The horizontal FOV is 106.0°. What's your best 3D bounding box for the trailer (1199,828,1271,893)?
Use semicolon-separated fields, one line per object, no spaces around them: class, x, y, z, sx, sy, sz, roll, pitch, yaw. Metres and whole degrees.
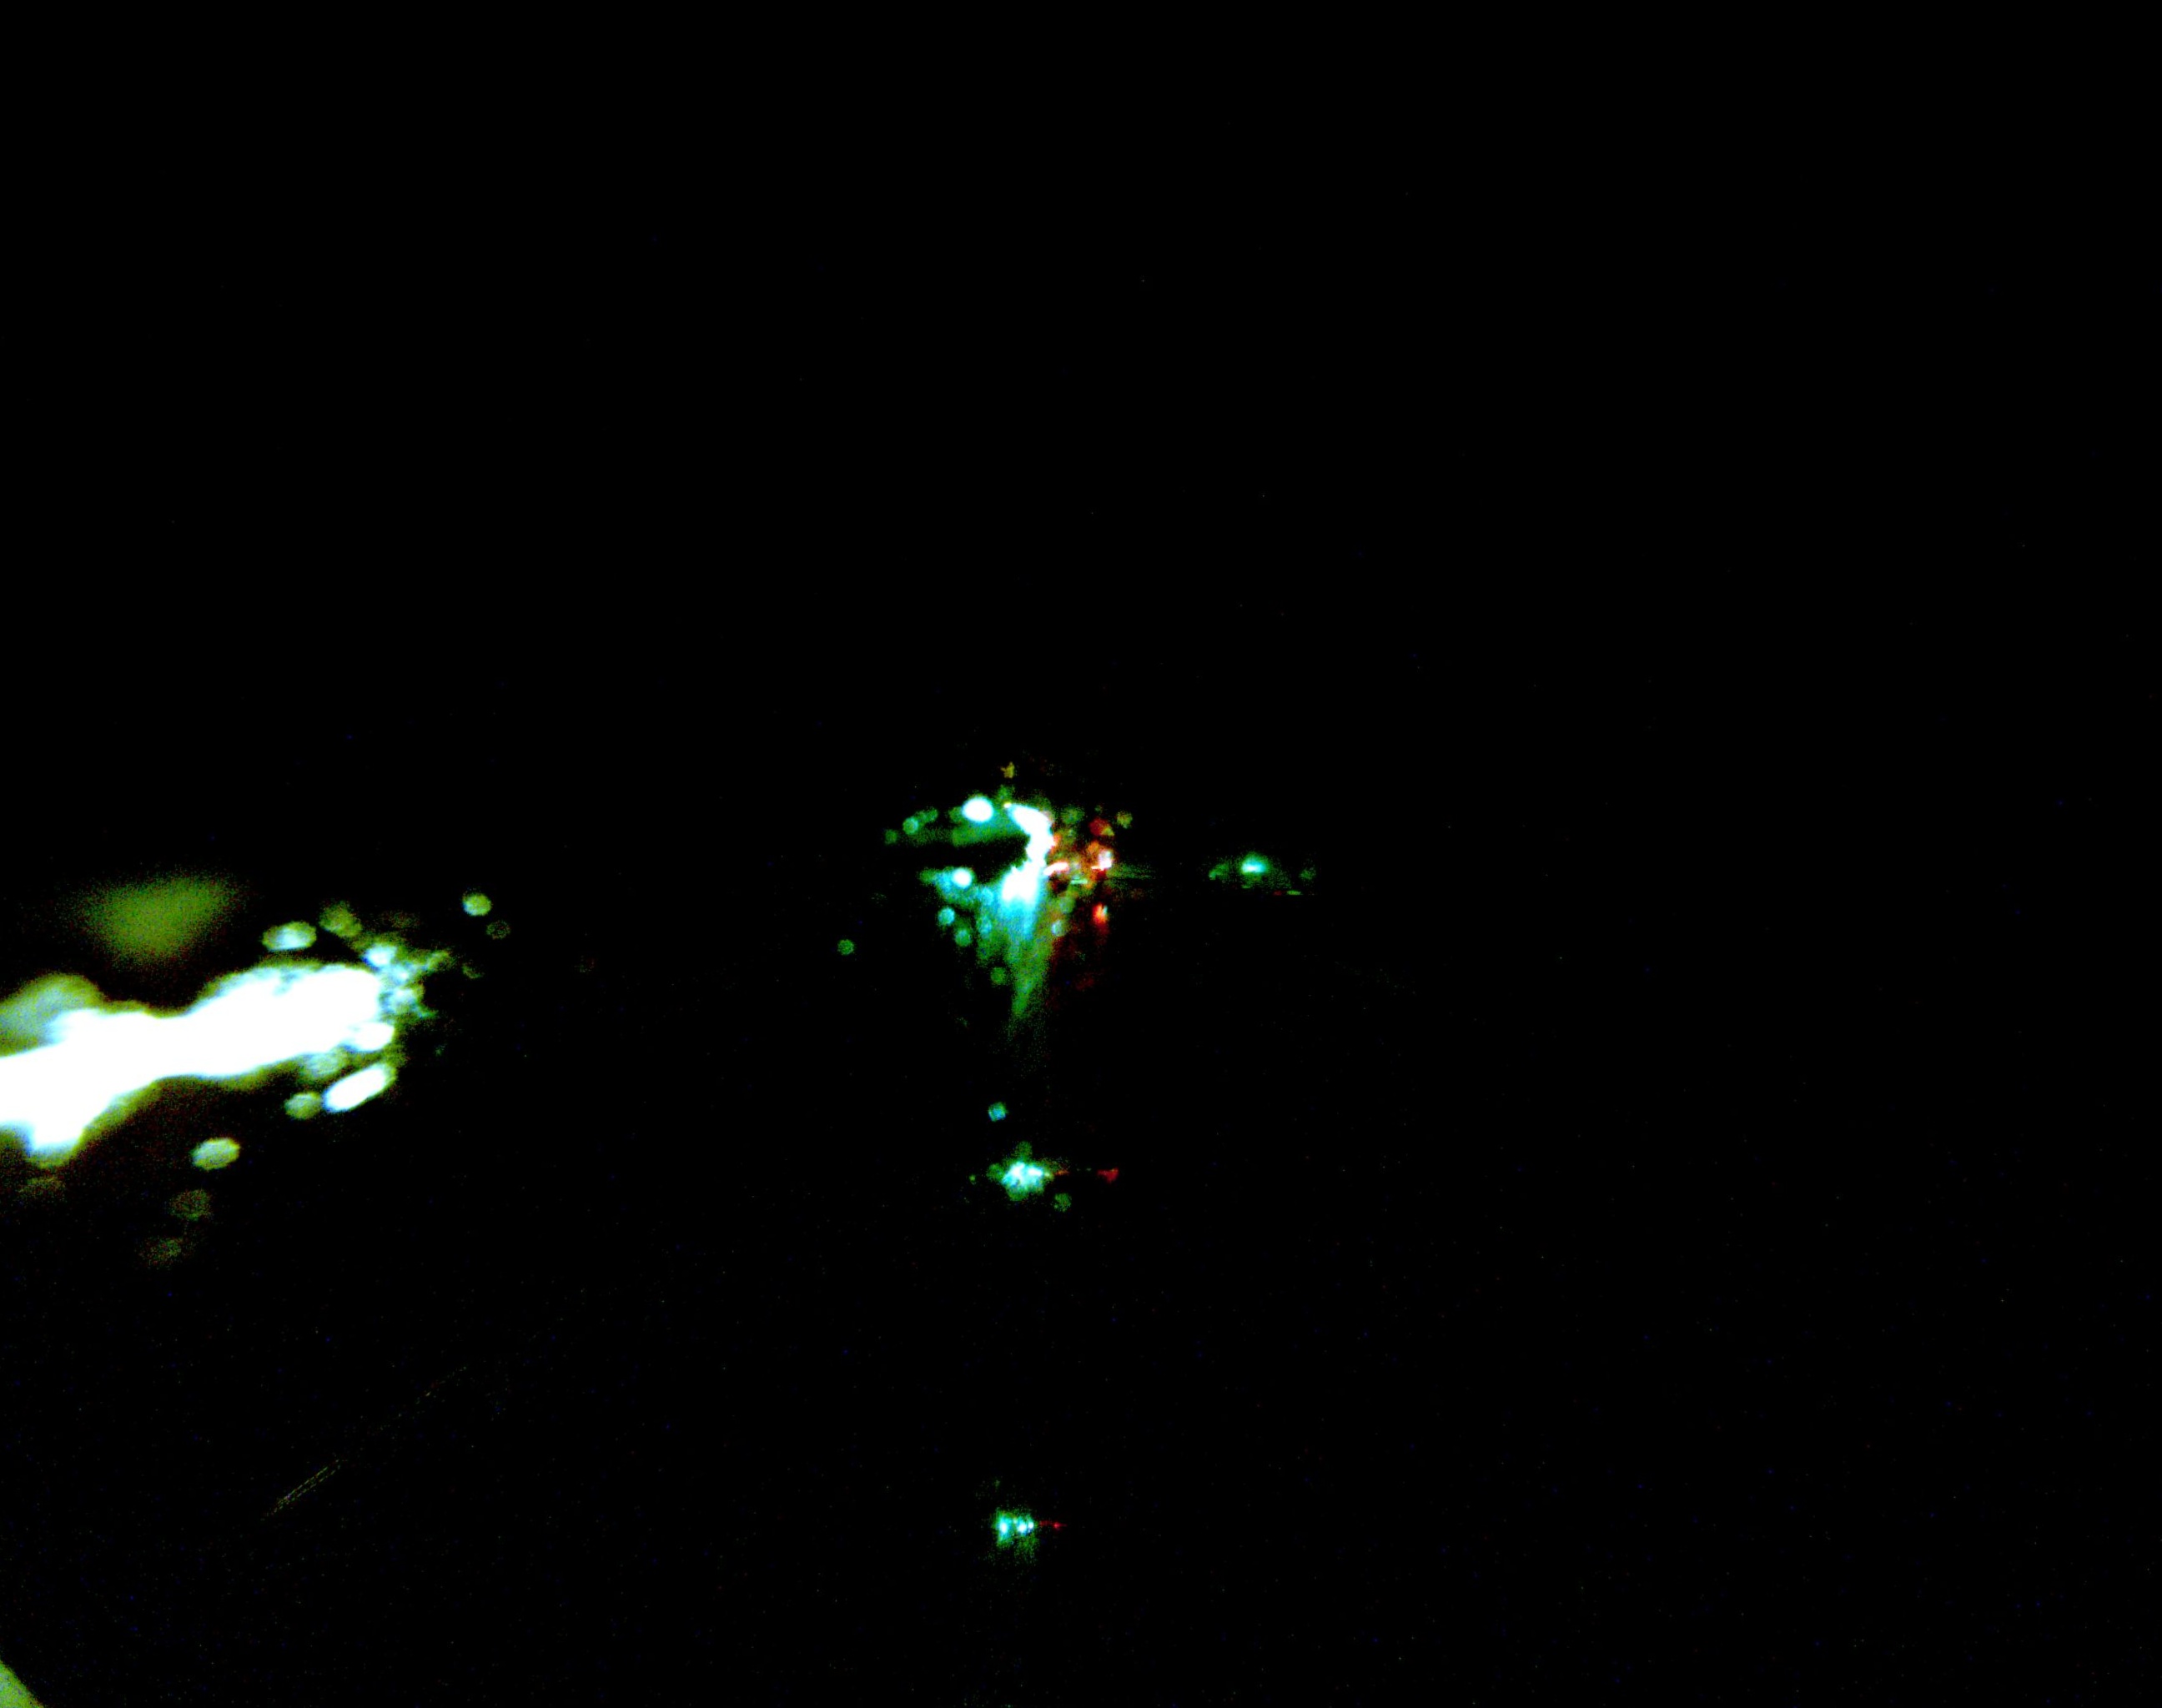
trailer;6.106;0.247;32.788;1.627;2.364;4.646;3;0;-4

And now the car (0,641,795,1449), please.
car;-3.420;0.491;4.510;1.912;2.057;4.887;0;0;0

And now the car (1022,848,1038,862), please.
car;-5.888;0.092;94.624;1.797;1.509;3.612;1;0;-2

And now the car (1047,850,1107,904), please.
car;-0.194;0.692;26.786;1.797;1.628;3.612;1;0;-3

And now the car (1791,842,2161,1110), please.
car;8.214;0.850;6.140;1.876;1.809;4.147;1;0;-6

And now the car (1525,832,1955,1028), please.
car;8.162;0.813;10.756;1.876;2.040;4.381;1;0;-6

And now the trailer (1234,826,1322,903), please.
trailer;6.655;0.316;27.962;1.602;2.352;4.425;3;0;-3

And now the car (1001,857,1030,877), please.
car;-5.064;0.961;63.699;1.988;1.460;4.894;-1;0;-2
